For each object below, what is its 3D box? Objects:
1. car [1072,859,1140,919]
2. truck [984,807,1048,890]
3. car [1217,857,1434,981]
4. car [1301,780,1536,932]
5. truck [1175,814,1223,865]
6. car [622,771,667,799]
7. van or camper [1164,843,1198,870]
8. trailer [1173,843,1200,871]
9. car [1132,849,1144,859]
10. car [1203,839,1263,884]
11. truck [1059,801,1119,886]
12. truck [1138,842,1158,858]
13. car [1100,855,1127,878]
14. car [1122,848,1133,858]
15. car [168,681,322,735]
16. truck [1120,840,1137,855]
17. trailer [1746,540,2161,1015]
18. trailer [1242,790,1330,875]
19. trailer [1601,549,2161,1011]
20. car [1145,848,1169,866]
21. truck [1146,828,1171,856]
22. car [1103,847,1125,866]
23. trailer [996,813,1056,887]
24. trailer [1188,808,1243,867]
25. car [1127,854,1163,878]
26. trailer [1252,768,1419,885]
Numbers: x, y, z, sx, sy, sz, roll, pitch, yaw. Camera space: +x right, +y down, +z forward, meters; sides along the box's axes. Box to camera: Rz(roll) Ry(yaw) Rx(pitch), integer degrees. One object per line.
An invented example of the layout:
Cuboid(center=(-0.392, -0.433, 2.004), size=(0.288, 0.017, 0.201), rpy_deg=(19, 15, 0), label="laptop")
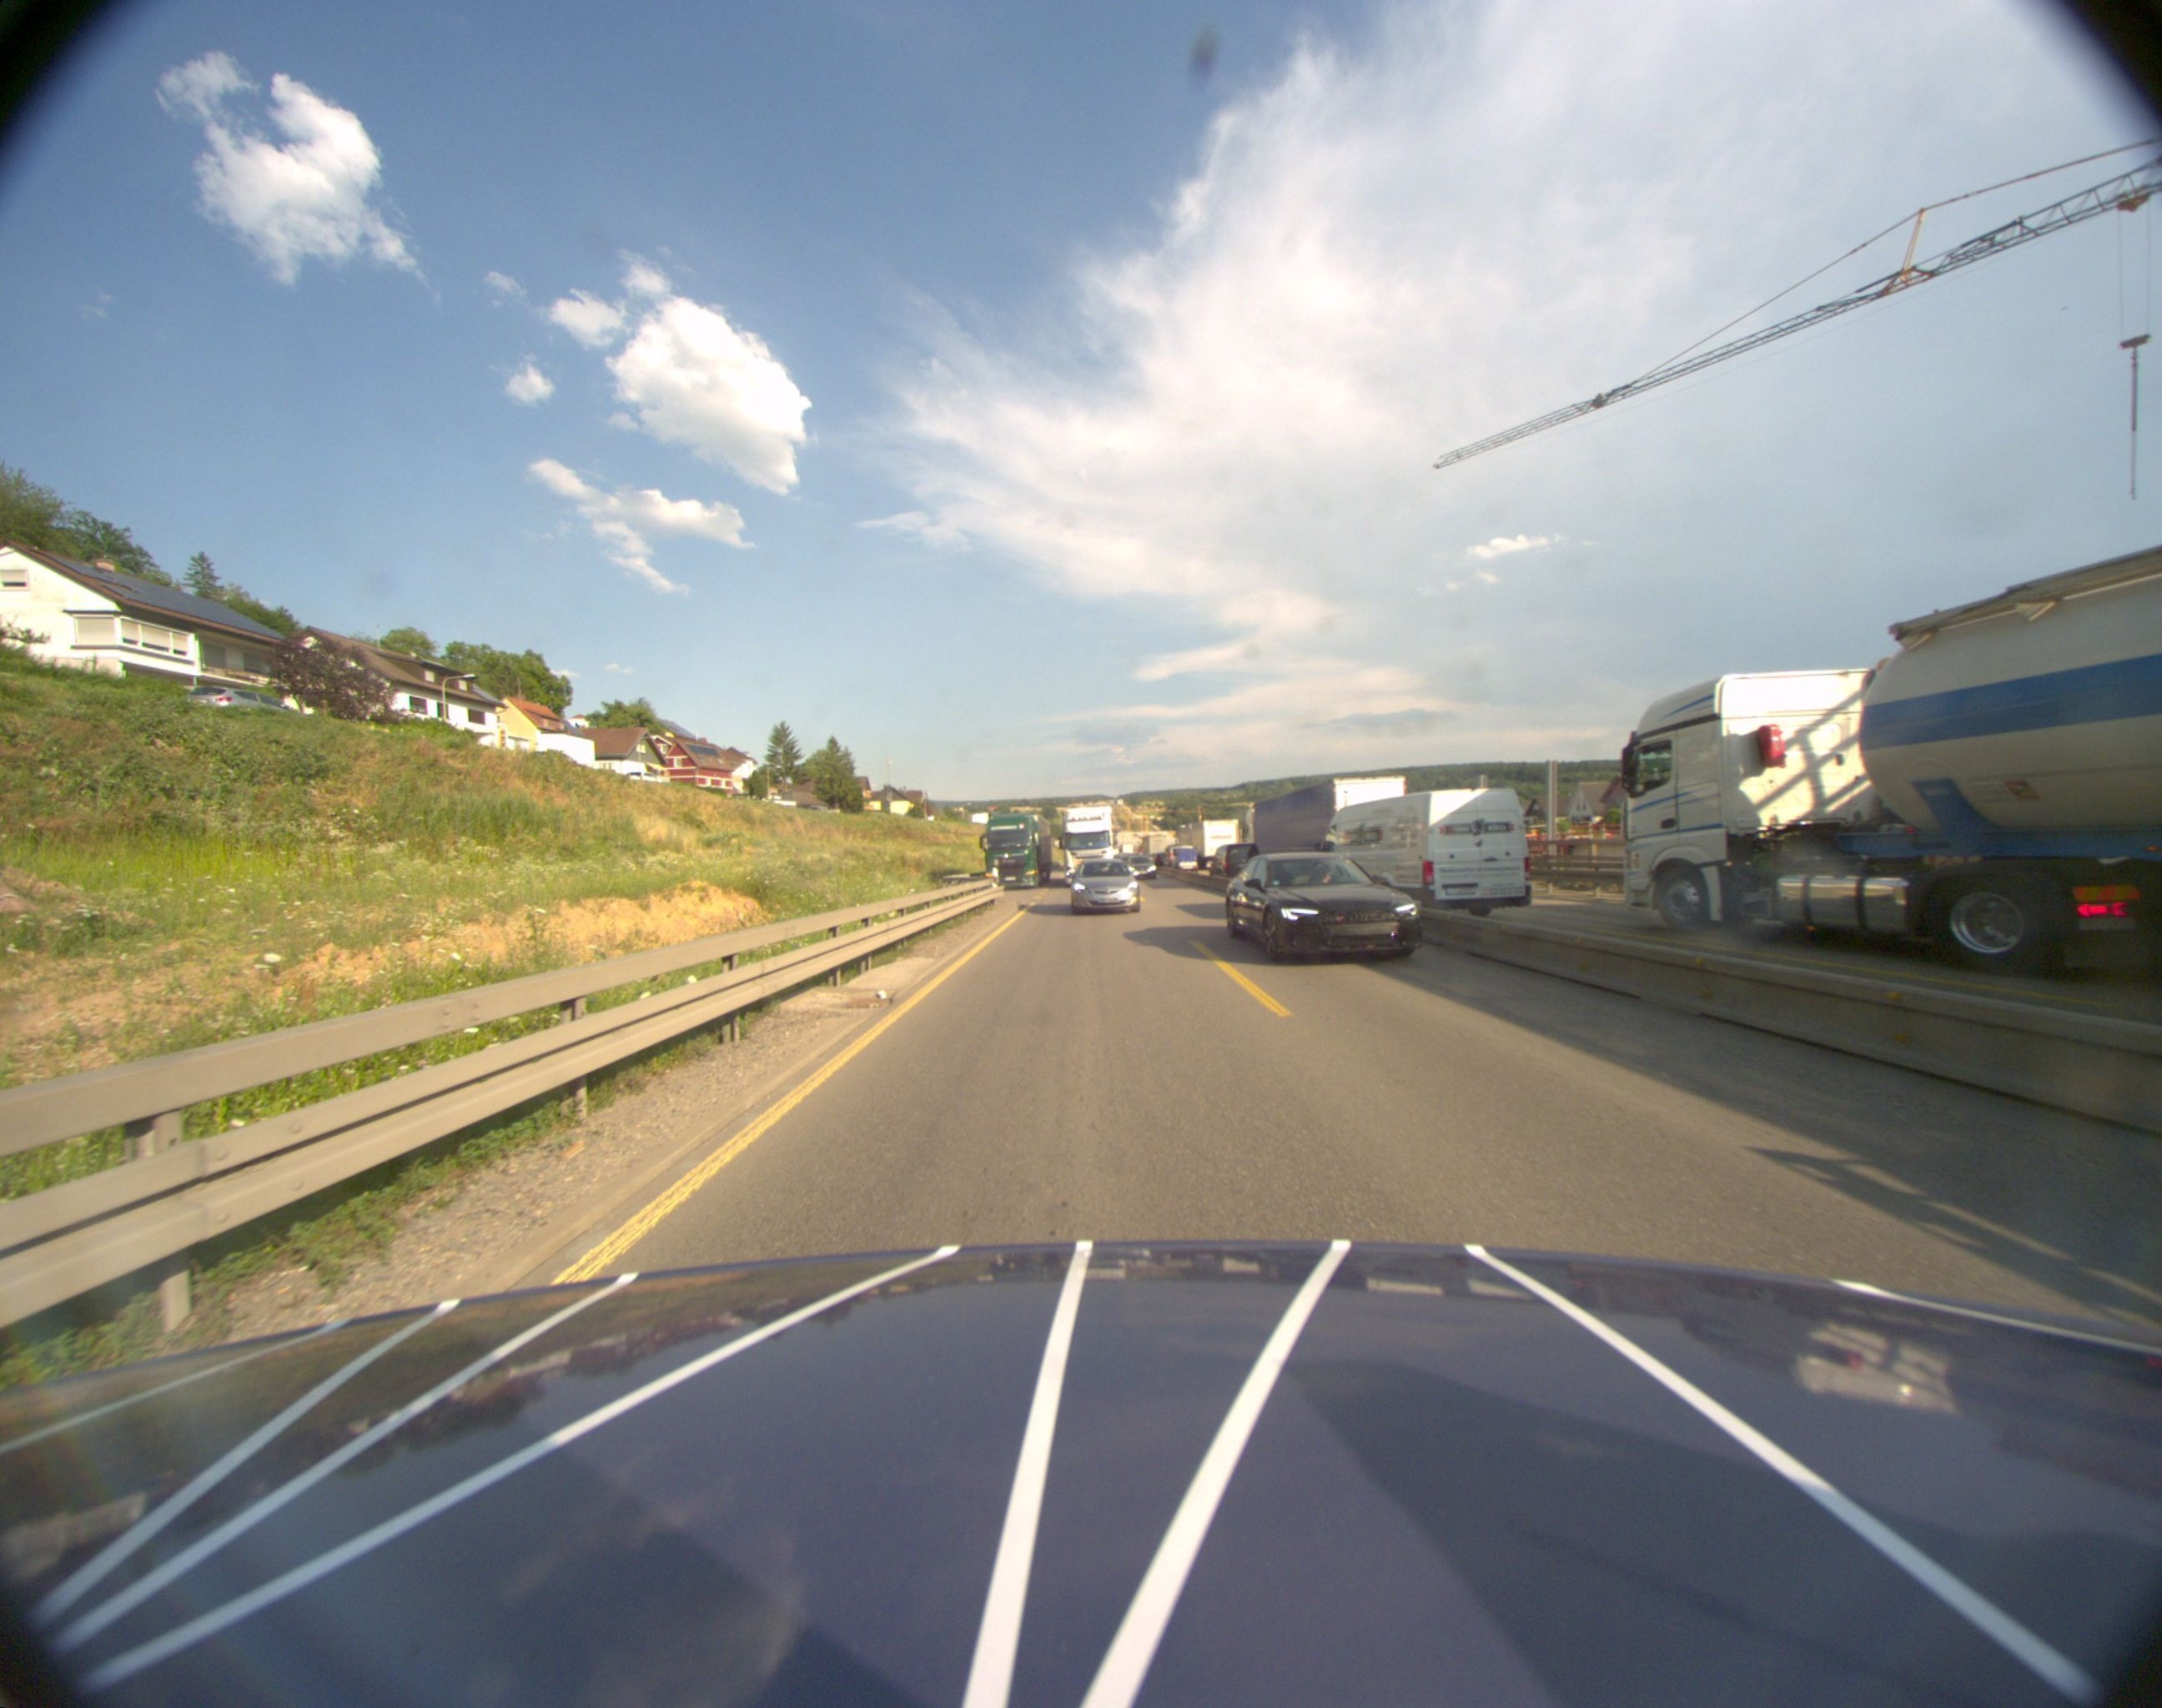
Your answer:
Cuboid(center=(0.641, 0.886, 20.836), size=(1.671, 1.425, 3.524), rpy_deg=(-2, 0, 1), label="car")
Cuboid(center=(-3.323, -0.286, 40.263), size=(2.547, 3.992, 6.071), rpy_deg=(-3, 1, 1), label="truck")
Cuboid(center=(3.365, 0.801, 11.423), size=(1.873, 1.411, 4.349), rpy_deg=(-2, 0, 1), label="car")
Cuboid(center=(7.041, 0.018, 17.143), size=(1.998, 2.607, 7.410), rpy_deg=(-3, 0, 1), label="car")
Cuboid(center=(10.847, -1.278, 70.976), size=(2.834, 4.239, 10.072), rpy_deg=(-3, 0, 1), label="truck")
Cuboid(center=(-38.914, -6.124, 67.865), size=(2.000, 2.002, 3.997), rpy_deg=(-3, 0, -7), label="car")
Cuboid(center=(7.472, 0.168, 57.334), size=(1.868, 1.881, 5.003), rpy_deg=(-3, 0, 1), label="van or camper")
Cuboid(center=(7.401, 0.195, 53.318), size=(1.452, 1.843, 2.984), rpy_deg=(-3, 1, 1), label="trailer")
Cuboid(center=(8.859, -0.077, 117.724), size=(1.624, 1.448, 3.232), rpy_deg=(-3, 0, 0), label="car")
Cuboid(center=(6.969, 0.309, 35.291), size=(1.785, 1.832, 4.853), rpy_deg=(-3, 0, 1), label="car")
Cuboid(center=(0.511, -0.534, 43.403), size=(2.741, 4.033, 12.670), rpy_deg=(-3, 0, 1), label="truck")
Cuboid(center=(11.374, -0.674, 129.993), size=(2.694, 2.682, 7.359), rpy_deg=(-3, 0, 1), label="truck")
Cuboid(center=(2.558, 0.969, 60.536), size=(1.998, 1.739, 4.000), rpy_deg=(-2, 0, 1), label="car")
Cuboid(center=(8.702, -0.168, 141.971), size=(1.808, 1.652, 4.000), rpy_deg=(-3, 0, 1), label="car")
Cuboid(center=(-34.936, -6.082, 31.939), size=(1.999, 1.433, 3.999), rpy_deg=(-2, 0, -2), label="car")
Cuboid(center=(12.368, -1.745, 198.534), size=(3.876, 3.766, 9.142), rpy_deg=(-3, 0, 1), label="truck")
Cuboid(center=(10.023, -0.641, 3.223), size=(2.659, 3.828, 13.442), rpy_deg=(-3, 0, 1), label="trailer")
Cuboid(center=(10.689, -1.067, 40.296), size=(2.932, 4.013, 6.222), rpy_deg=(-3, 1, 1), label="trailer")
Cuboid(center=(10.074, -0.681, 9.519), size=(2.659, 3.828, 6.429), rpy_deg=(-3, 1, 1), label="trailer")
Cuboid(center=(7.136, 0.278, 71.994), size=(1.861, 1.565, 4.000), rpy_deg=(-3, 0, 1), label="car")
Cuboid(center=(11.581, -1.754, 114.078), size=(2.873, 4.038, 7.598), rpy_deg=(-3, 0, 1), label="truck")
Cuboid(center=(3.210, 0.227, 73.620), size=(1.918, 1.746, 4.000), rpy_deg=(-1, -1, 0), label="car")
Cuboid(center=(-3.190, -0.253, 47.658), size=(2.554, 3.911, 12.078), rpy_deg=(-3, 0, 1), label="trailer")
Cuboid(center=(10.725, -1.277, 61.579), size=(2.834, 4.258, 8.735), rpy_deg=(-3, 0, 1), label="trailer")
Cuboid(center=(3.804, 0.692, 45.699), size=(1.692, 1.293, 3.883), rpy_deg=(-3, 0, -1), label="car")
Cuboid(center=(10.521, -1.019, 33.691), size=(2.932, 4.013, 13.774), rpy_deg=(-3, 0, 1), label="trailer")
